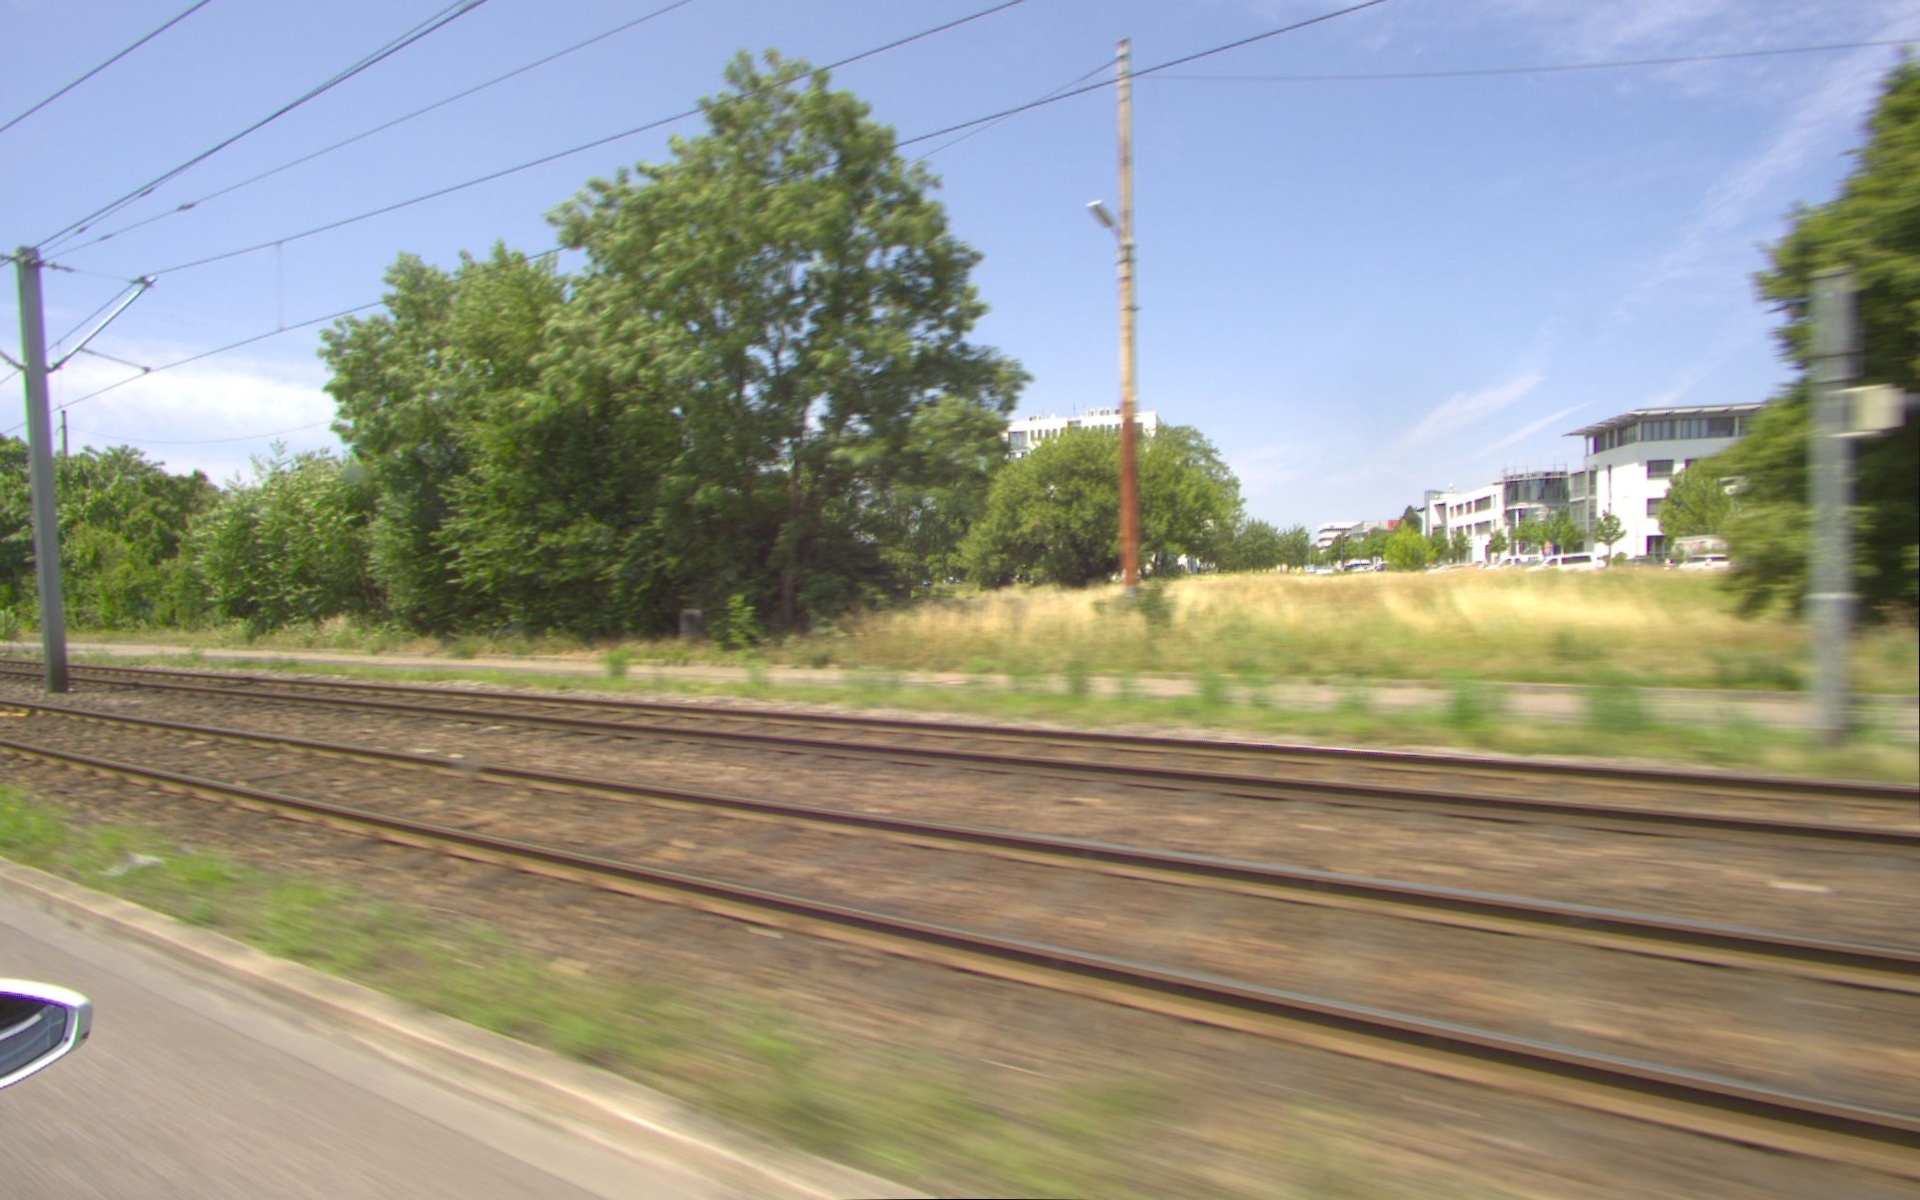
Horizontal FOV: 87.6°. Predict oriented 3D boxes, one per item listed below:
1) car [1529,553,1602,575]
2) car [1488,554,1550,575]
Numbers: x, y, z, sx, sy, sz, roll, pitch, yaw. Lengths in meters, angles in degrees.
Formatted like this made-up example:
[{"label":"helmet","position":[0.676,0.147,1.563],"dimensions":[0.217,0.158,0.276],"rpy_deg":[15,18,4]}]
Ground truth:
[{"label":"car","position":[44.659,-2.656,73.993],"dimensions":[4.286,1.472,1.832],"rpy_deg":[-1,0,17]},{"label":"car","position":[47.337,-2.999,84.868],"dimensions":[4.286,1.598,1.832],"rpy_deg":[-1,0,17]}]
